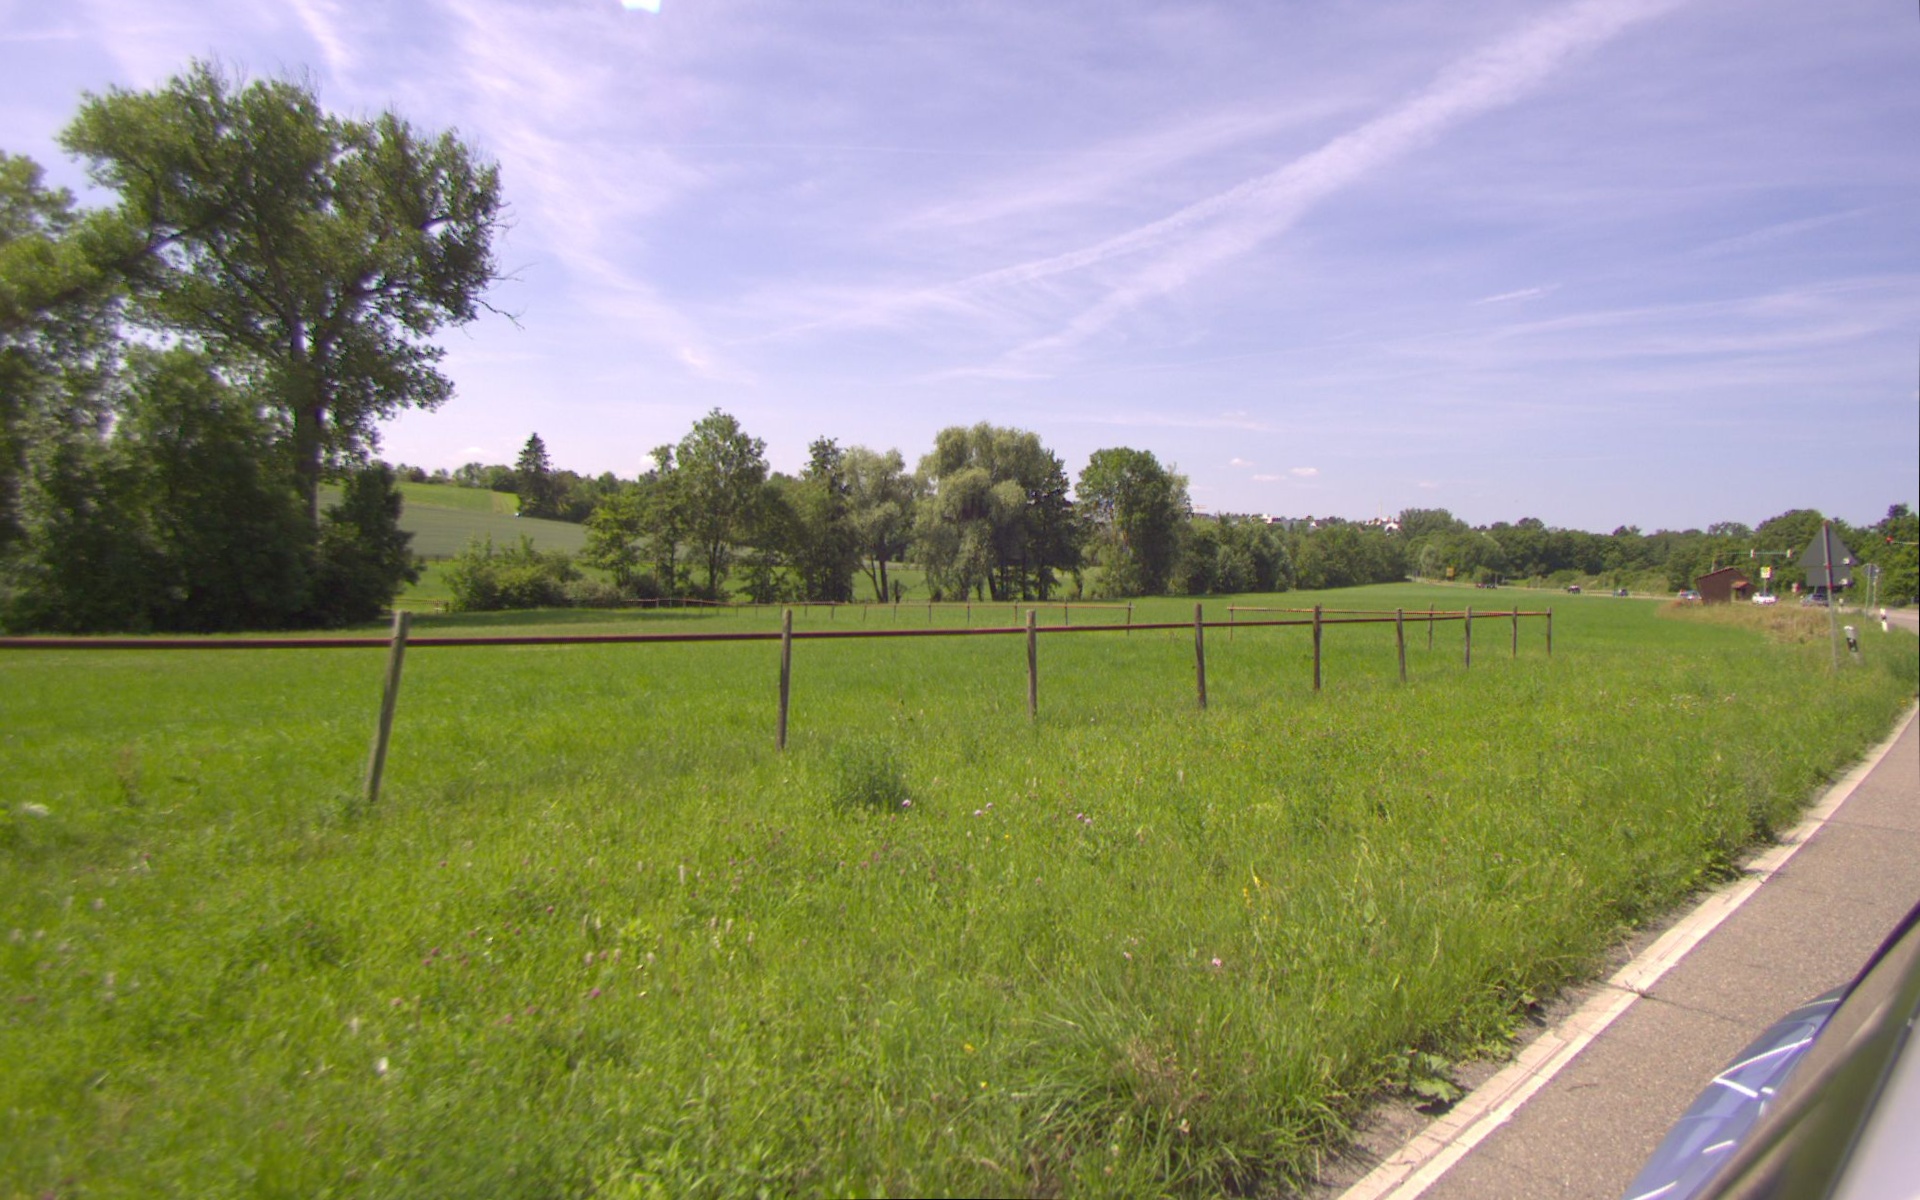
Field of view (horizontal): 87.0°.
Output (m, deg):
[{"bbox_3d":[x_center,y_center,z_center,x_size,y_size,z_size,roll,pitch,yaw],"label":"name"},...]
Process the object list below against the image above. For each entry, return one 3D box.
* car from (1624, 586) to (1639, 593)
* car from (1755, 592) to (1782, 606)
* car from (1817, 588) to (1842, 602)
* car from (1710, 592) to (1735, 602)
[{"bbox_3d":[132.640,-2.082,199.873,1.692,1.501,3.805,0,1,21],"label":"car"},{"bbox_3d":[98.224,-0.123,122.960,1.984,1.605,3.956,0,0,31],"label":"car"},{"bbox_3d":[98.471,-0.575,114.604,1.749,1.554,4.174,0,0,35],"label":"car"},{"bbox_3d":[117.105,-0.449,155.445,1.921,1.568,4.592,0,0,22],"label":"car"}]
